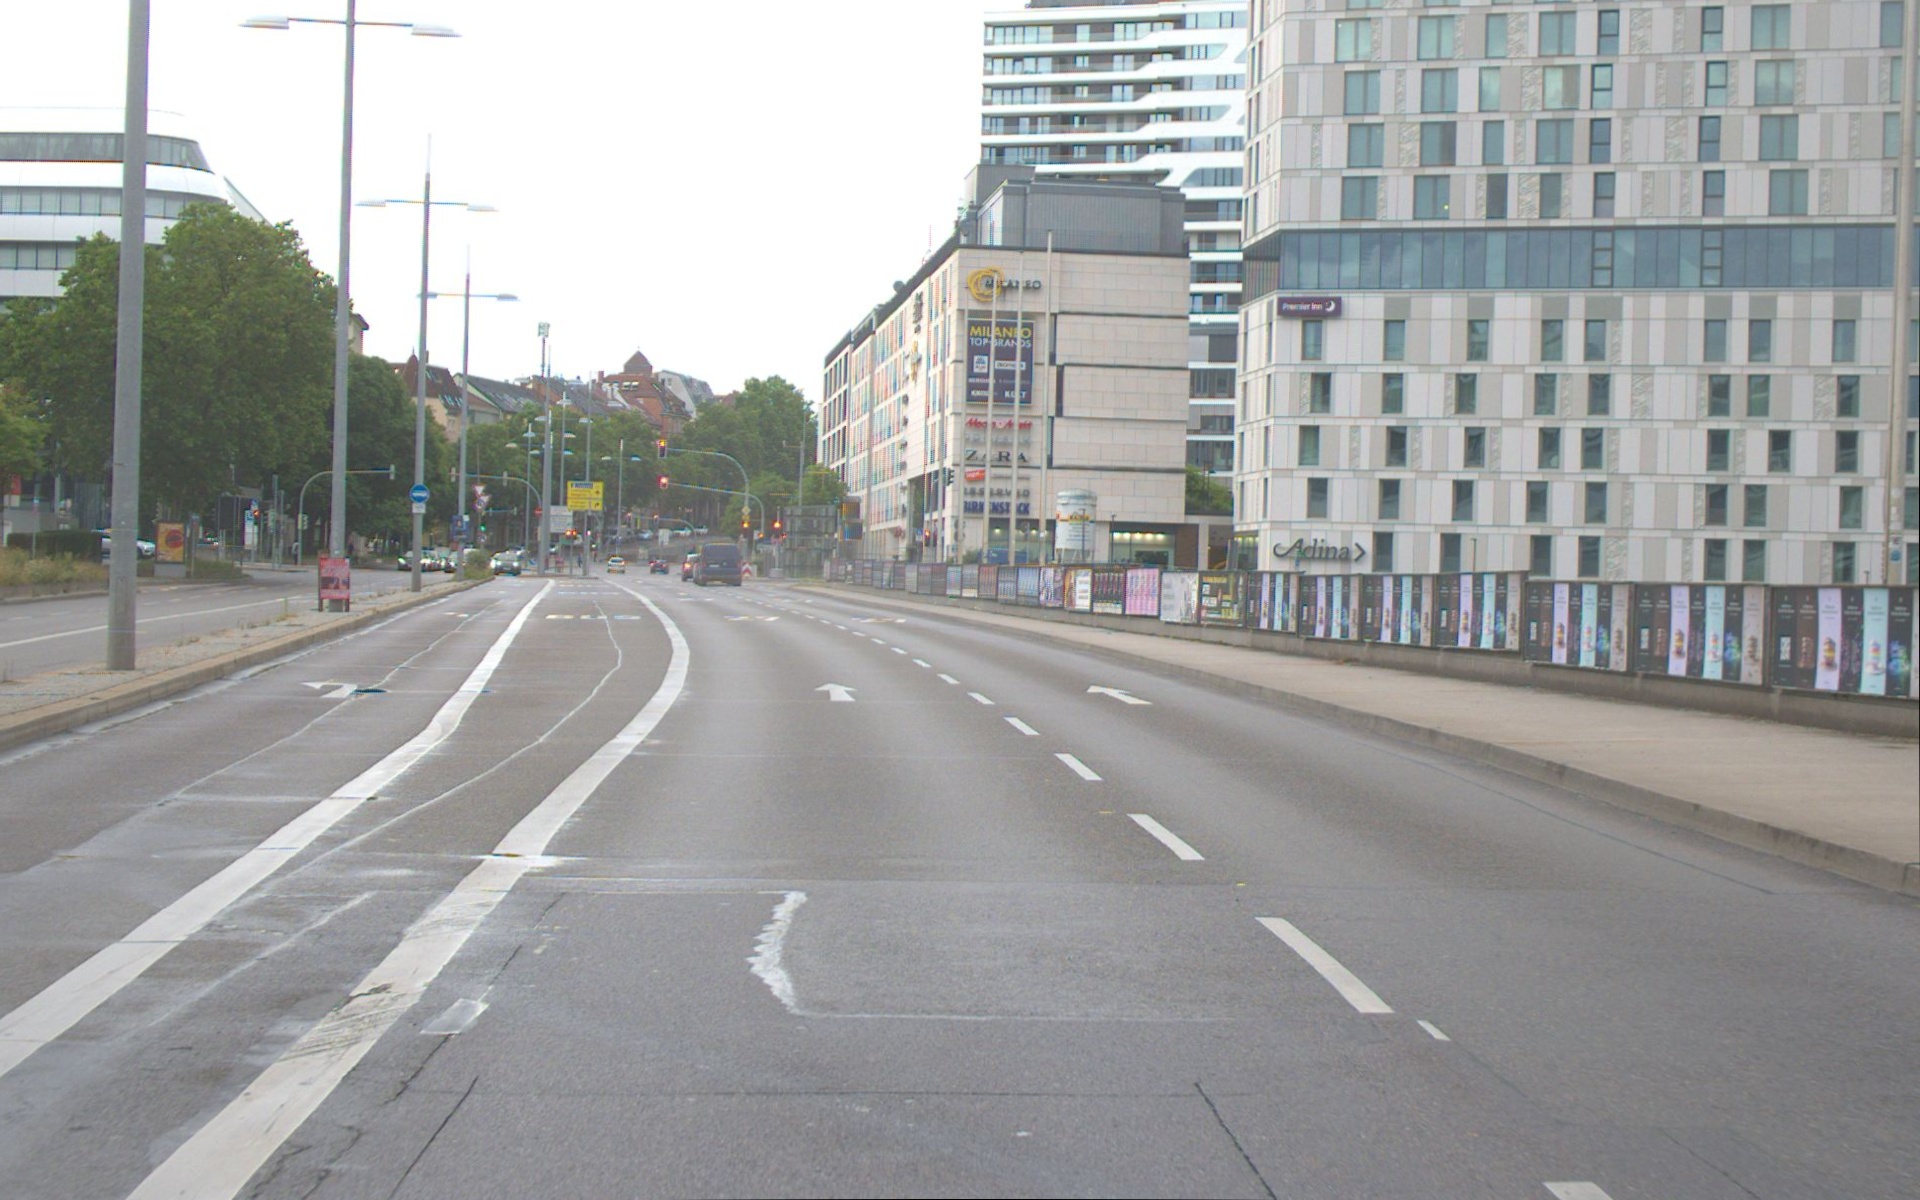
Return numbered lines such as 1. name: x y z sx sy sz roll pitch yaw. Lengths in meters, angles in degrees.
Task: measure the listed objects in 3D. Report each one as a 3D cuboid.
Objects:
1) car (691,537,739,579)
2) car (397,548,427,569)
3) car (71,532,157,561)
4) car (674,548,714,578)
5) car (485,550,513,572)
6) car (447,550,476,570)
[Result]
1. car: -11.468 -1.985 160.729 2.032 1.875 5.043 -2 1 -6
2. car: -36.645 -2.787 230.058 1.743 1.324 4.226 1 0 -6
3. car: -49.673 -3.160 201.998 4.503 1.626 1.894 1 0 10
4. car: -14.371 -2.008 185.717 1.739 1.526 3.815 1 0 -11
5. car: -30.817 -2.604 229.824 1.743 1.439 3.395 1 0 -6
6. car: -33.477 -2.704 231.025 1.743 1.253 3.540 2 1 -6
